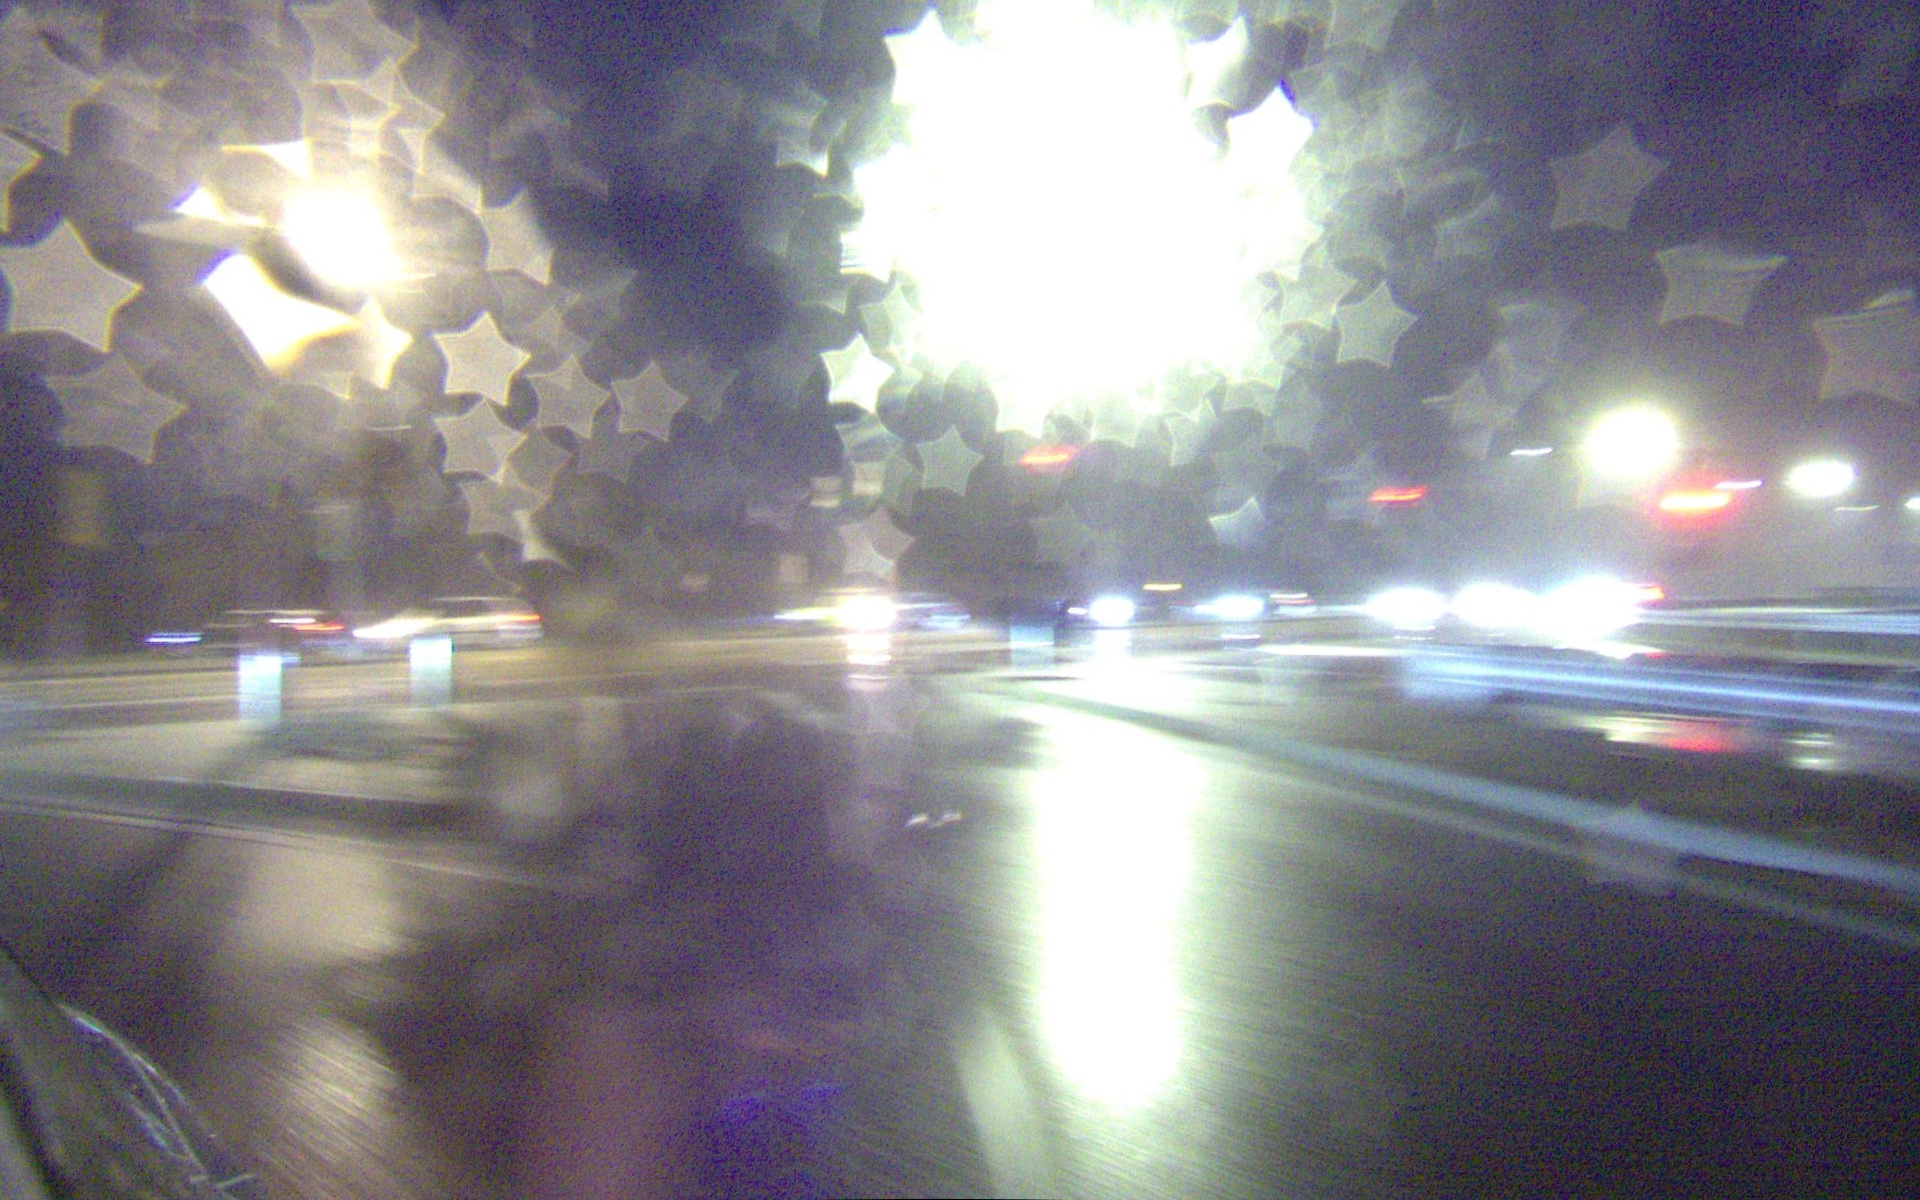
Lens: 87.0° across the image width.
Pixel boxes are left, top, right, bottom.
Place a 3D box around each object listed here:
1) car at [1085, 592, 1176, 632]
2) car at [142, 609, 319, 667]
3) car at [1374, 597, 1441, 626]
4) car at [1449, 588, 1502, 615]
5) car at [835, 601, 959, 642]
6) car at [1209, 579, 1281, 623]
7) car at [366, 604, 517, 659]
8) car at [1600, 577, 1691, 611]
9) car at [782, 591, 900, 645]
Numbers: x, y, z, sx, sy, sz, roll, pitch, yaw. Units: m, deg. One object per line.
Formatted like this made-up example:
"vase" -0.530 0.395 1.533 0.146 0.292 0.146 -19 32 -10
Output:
"car" 6.709 0.447 39.850 3.294 1.438 1.599 -1 0 -33
"car" -20.949 1.056 29.259 4.028 1.467 1.859 -1 0 -34
"car" 25.520 0.634 57.699 3.728 1.554 1.761 -1 0 -34
"car" 33.812 0.078 66.356 3.730 1.687 1.615 -1 0 -38
"car" -2.341 0.783 37.932 4.379 1.369 1.656 -1 0 -33
"car" 13.922 0.032 49.382 3.733 2.029 1.597 -1 0 -42
"car" -15.202 0.880 29.714 3.756 1.459 1.674 -1 0 -34
"car" 31.314 -0.289 46.216 4.196 1.463 1.808 -1 0 -30
"car" -4.757 0.676 40.616 4.279 2.032 1.900 -1 0 -32
